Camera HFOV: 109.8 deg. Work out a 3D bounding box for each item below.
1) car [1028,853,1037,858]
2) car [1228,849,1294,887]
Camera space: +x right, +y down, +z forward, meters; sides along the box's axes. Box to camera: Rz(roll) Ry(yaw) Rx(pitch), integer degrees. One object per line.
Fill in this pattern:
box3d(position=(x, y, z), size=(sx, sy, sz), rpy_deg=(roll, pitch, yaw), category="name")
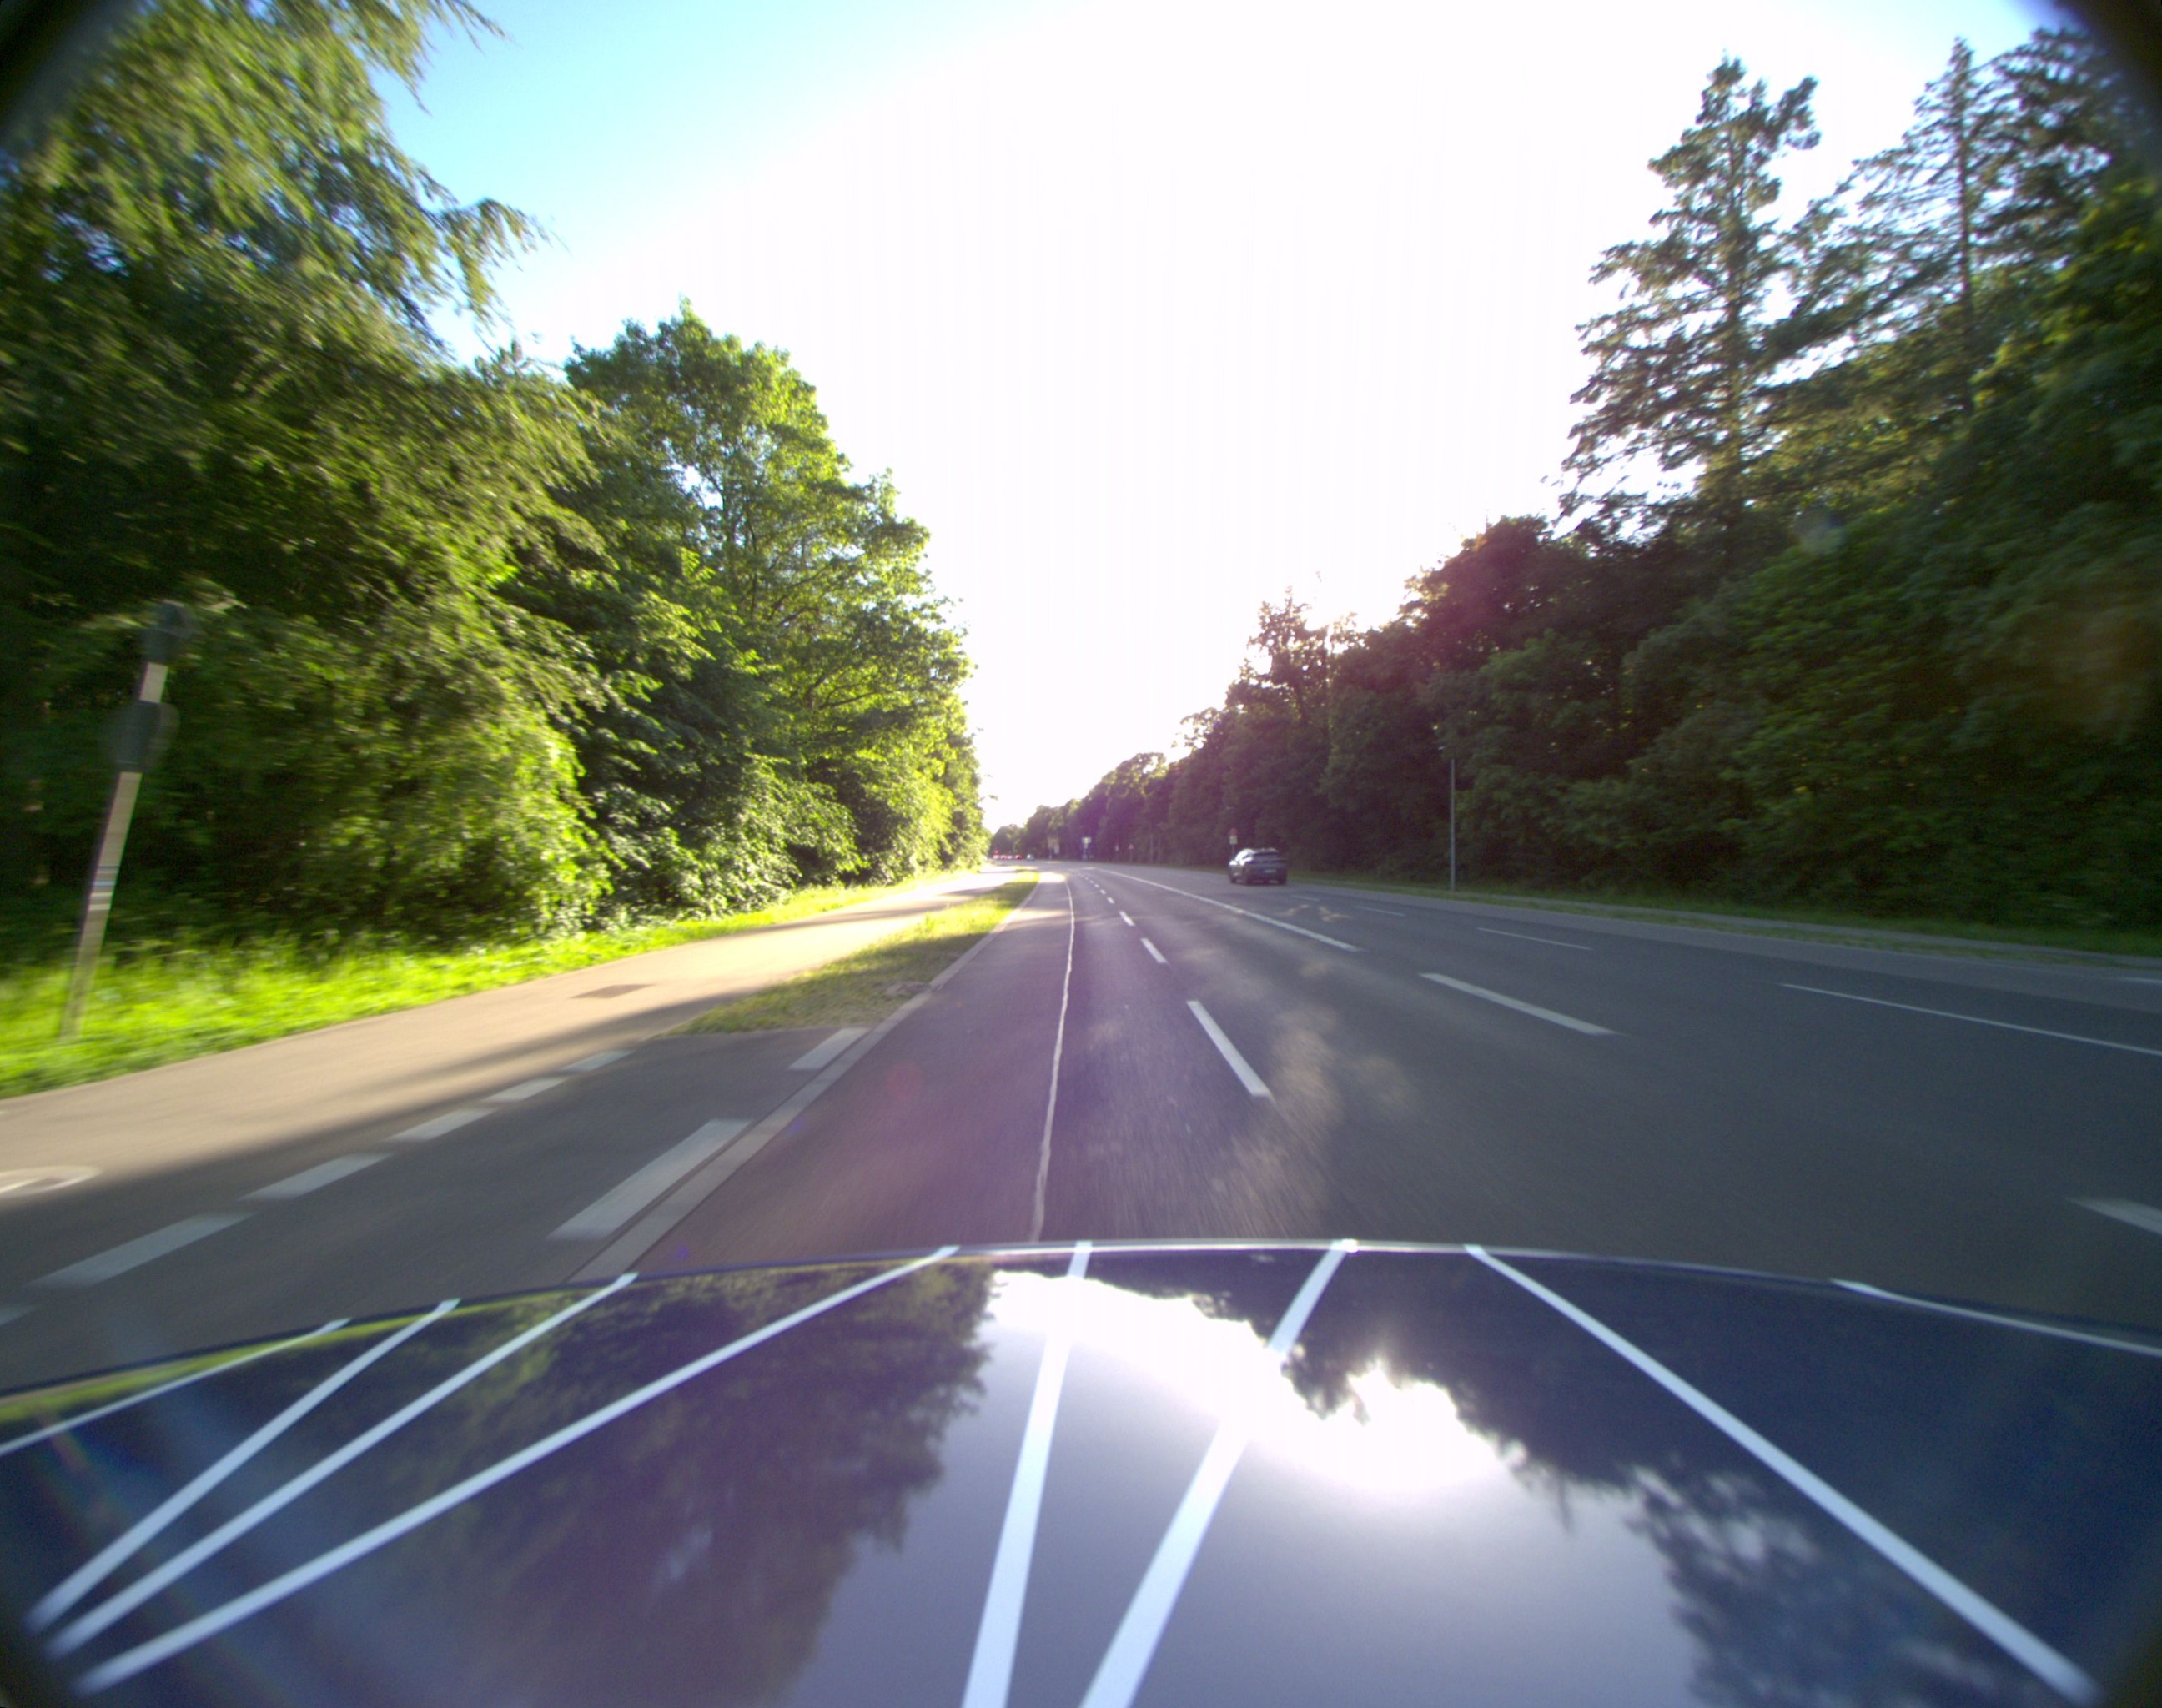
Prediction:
box3d(position=(-14.000, 0.419, 220.228), size=(1.745, 1.449, 3.993), rpy_deg=(-3, 0, -17), category="car")
box3d(position=(8.209, 0.606, 35.089), size=(1.901, 1.601, 4.449), rpy_deg=(-1, 0, -1), category="car")
